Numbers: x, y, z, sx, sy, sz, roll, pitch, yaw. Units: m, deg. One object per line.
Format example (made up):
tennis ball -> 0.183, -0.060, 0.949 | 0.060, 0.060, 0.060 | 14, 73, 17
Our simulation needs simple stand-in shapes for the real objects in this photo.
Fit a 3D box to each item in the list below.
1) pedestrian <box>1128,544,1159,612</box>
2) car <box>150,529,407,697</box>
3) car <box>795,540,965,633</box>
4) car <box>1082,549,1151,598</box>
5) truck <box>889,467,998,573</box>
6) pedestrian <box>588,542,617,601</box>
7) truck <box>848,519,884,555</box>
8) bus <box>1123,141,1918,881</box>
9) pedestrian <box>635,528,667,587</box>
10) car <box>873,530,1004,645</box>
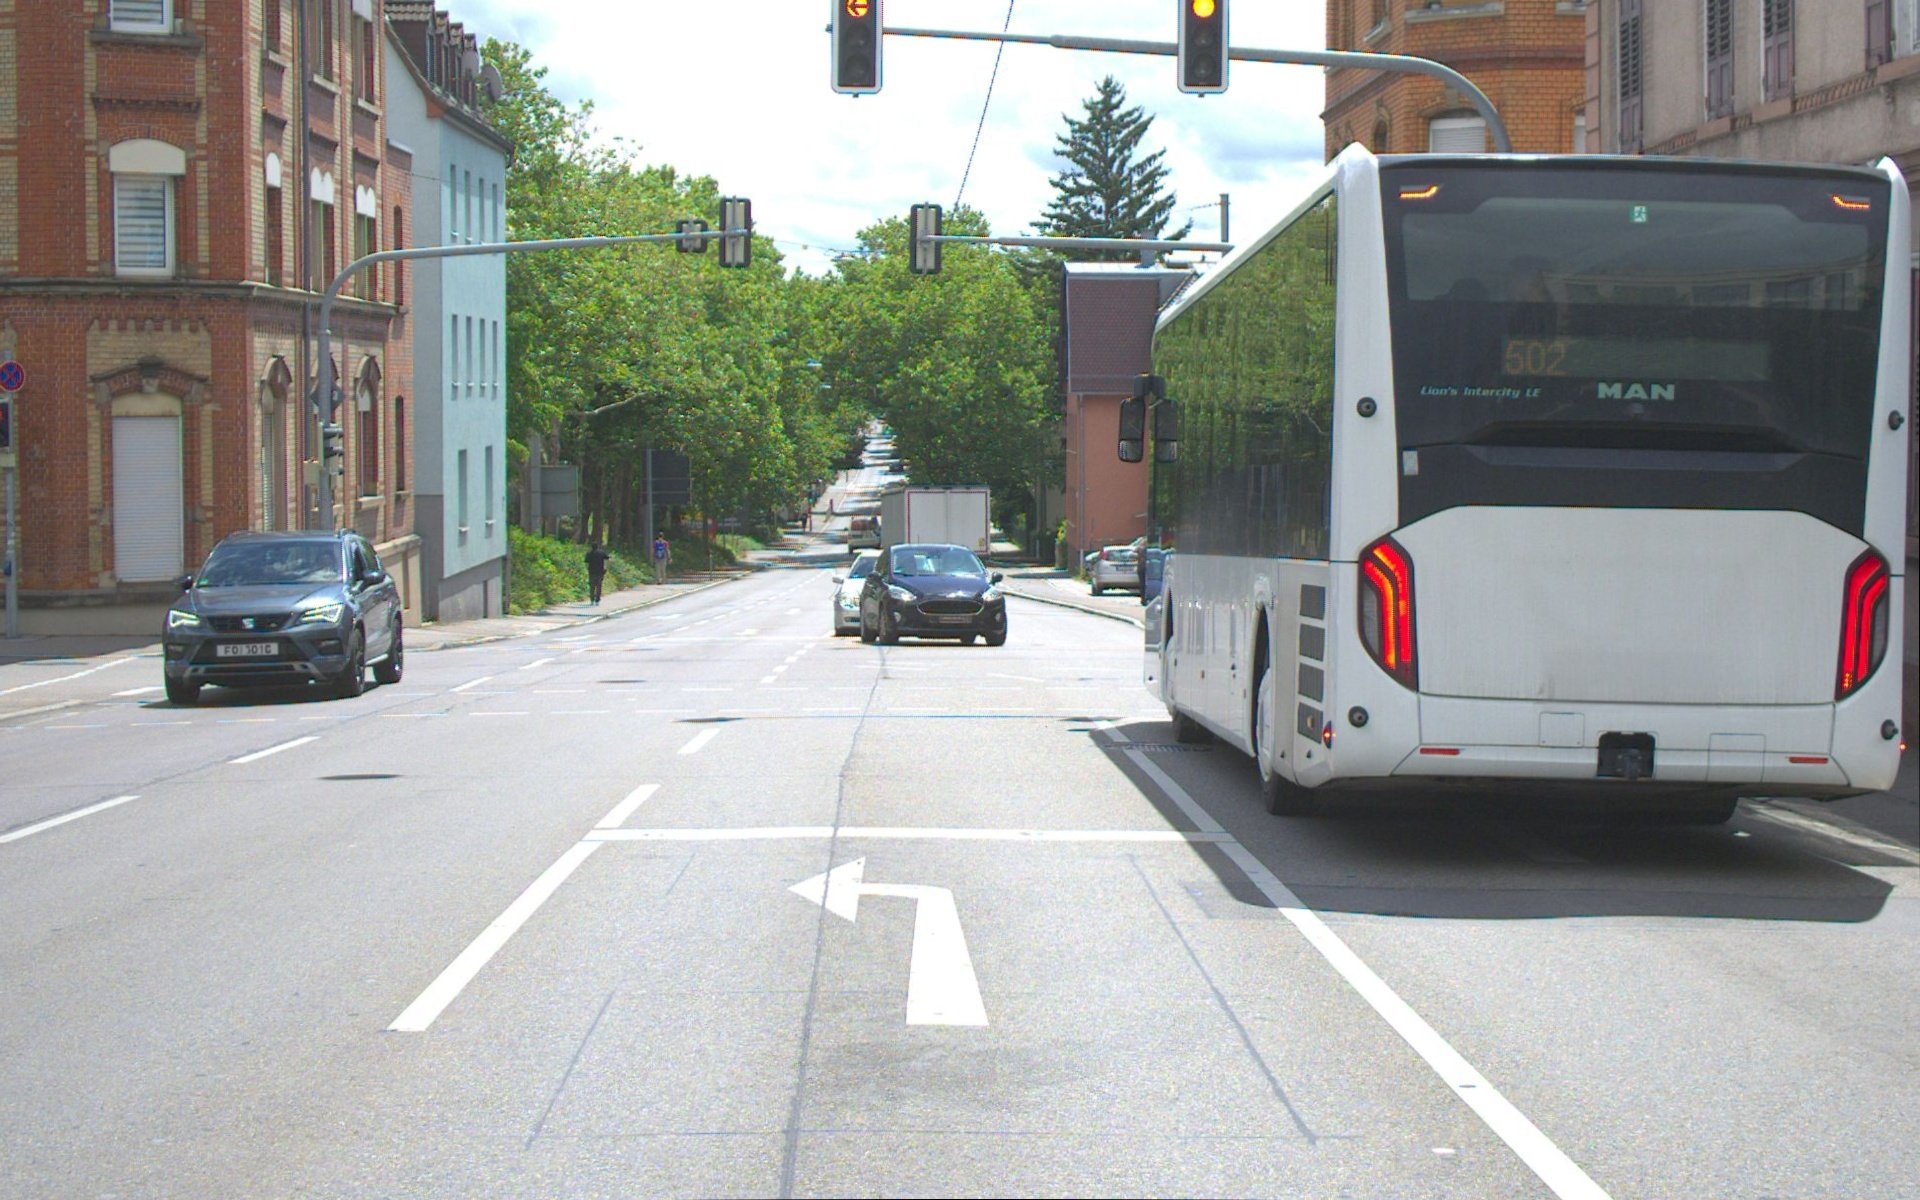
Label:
pedestrian -> 4.787, -0.582, 89.656 | 0.738, 1.744, 0.619 | -1, 1, -1
car -> -6.591, 0.079, 33.631 | 1.758, 1.516, 3.958 | -1, 1, -1
car -> -1.260, -0.237, 55.914 | 1.700, 1.422, 3.997 | 0, 1, 15
car -> 4.759, -0.823, 104.821 | 1.794, 1.405, 4.001 | -1, 2, -2
truck -> -0.553, -2.449, 105.447 | 2.926, 3.070, 7.887 | -1, 1, -3
pedestrian -> -9.559, -0.760, 91.982 | 0.729, 1.560, 0.561 | 0, 1, -1
truck -> -5.287, -3.533, 193.705 | 1.993, 2.007, 4.000 | 1, 1, -1
bus -> 2.706, -0.508, 20.987 | 2.672, 3.145, 12.463 | -1, 1, -1
pedestrian -> -10.625, -1.448, 118.177 | 0.995, 2.007, 1.189 | -1, 1, -1
car -> -0.321, -0.204, 48.627 | 1.758, 1.511, 3.794 | -1, 2, -1
